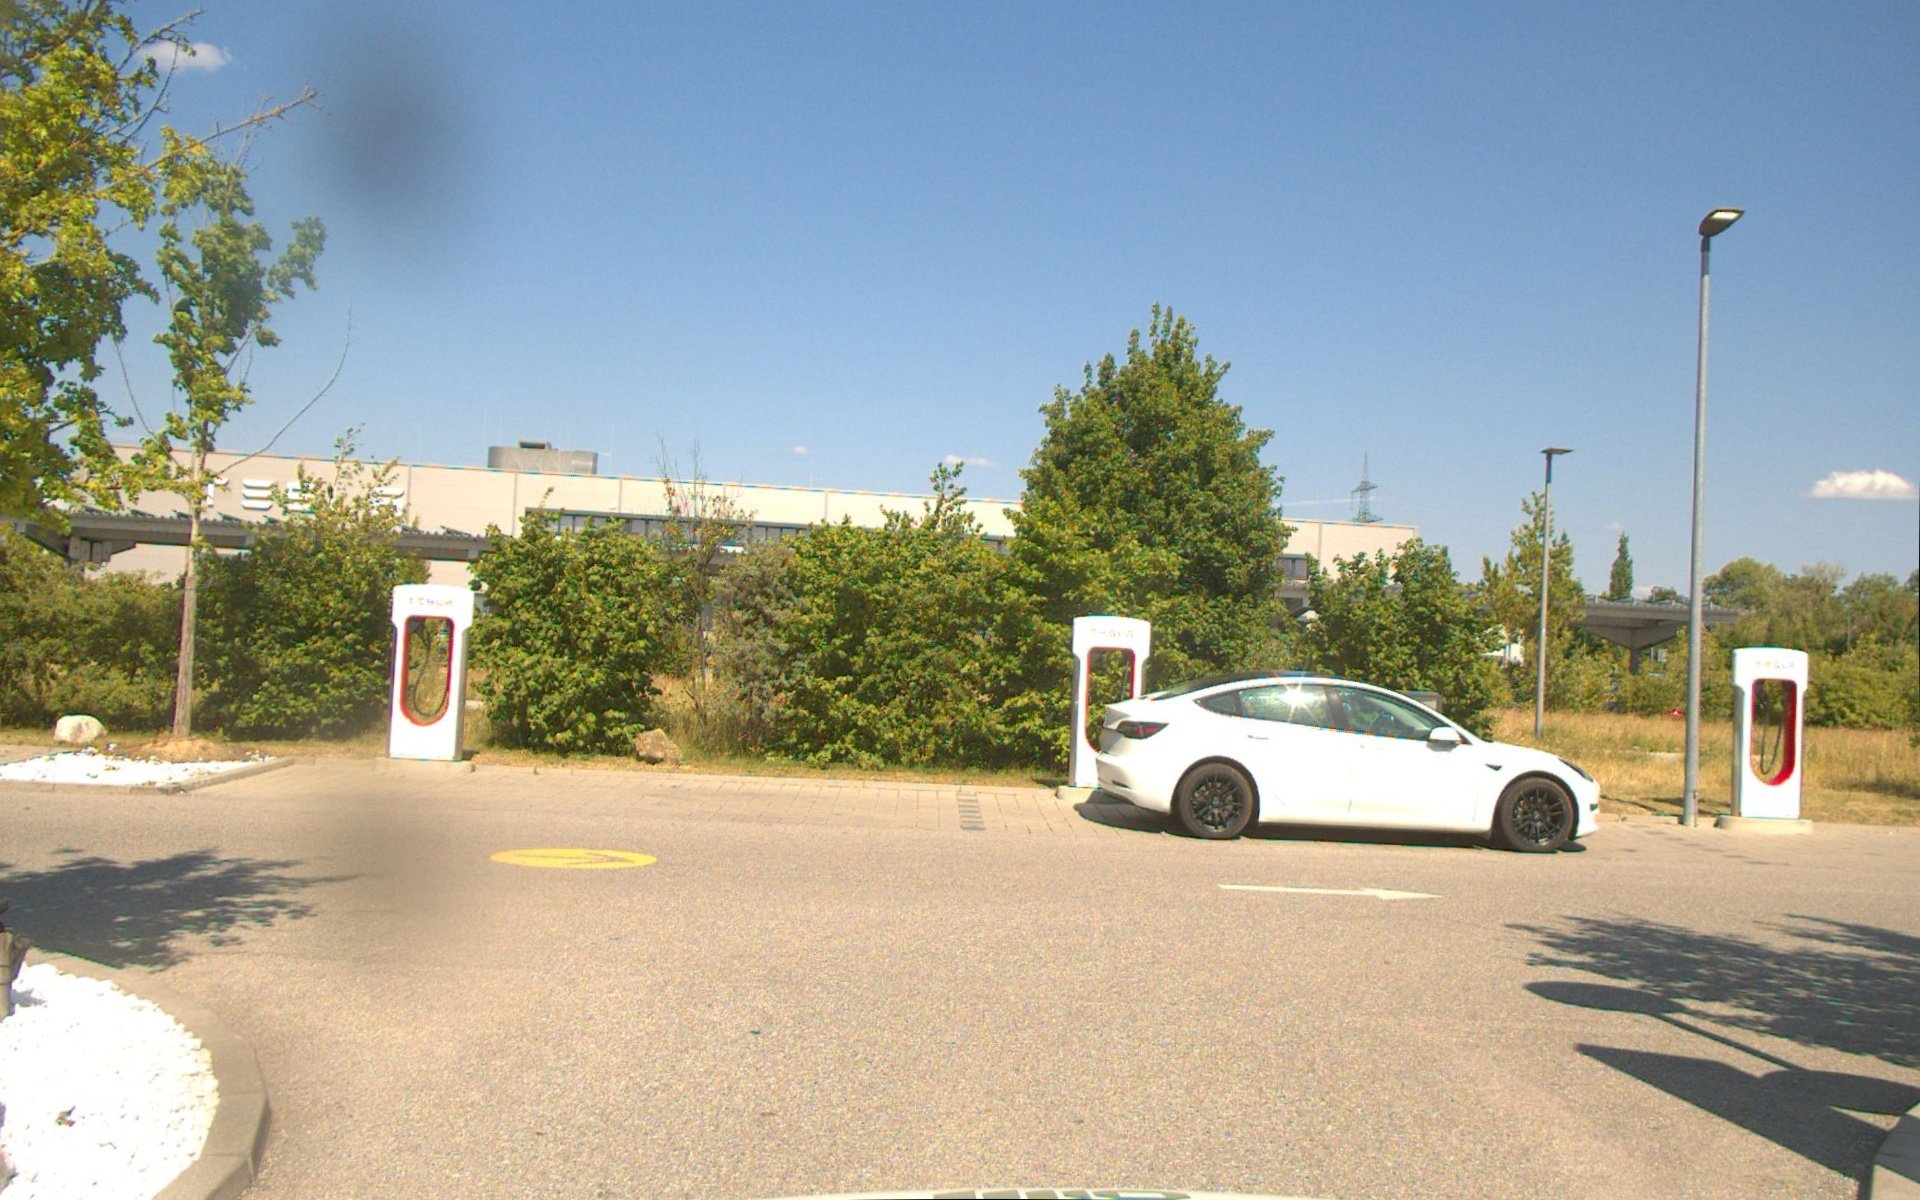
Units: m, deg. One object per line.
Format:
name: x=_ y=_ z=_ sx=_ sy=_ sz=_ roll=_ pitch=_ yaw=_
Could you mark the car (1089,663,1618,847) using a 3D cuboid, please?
car: x=3.479 y=1.375 z=15.122 sx=4.346 sy=1.402 sz=1.821 roll=2 pitch=-2 yaw=-4
